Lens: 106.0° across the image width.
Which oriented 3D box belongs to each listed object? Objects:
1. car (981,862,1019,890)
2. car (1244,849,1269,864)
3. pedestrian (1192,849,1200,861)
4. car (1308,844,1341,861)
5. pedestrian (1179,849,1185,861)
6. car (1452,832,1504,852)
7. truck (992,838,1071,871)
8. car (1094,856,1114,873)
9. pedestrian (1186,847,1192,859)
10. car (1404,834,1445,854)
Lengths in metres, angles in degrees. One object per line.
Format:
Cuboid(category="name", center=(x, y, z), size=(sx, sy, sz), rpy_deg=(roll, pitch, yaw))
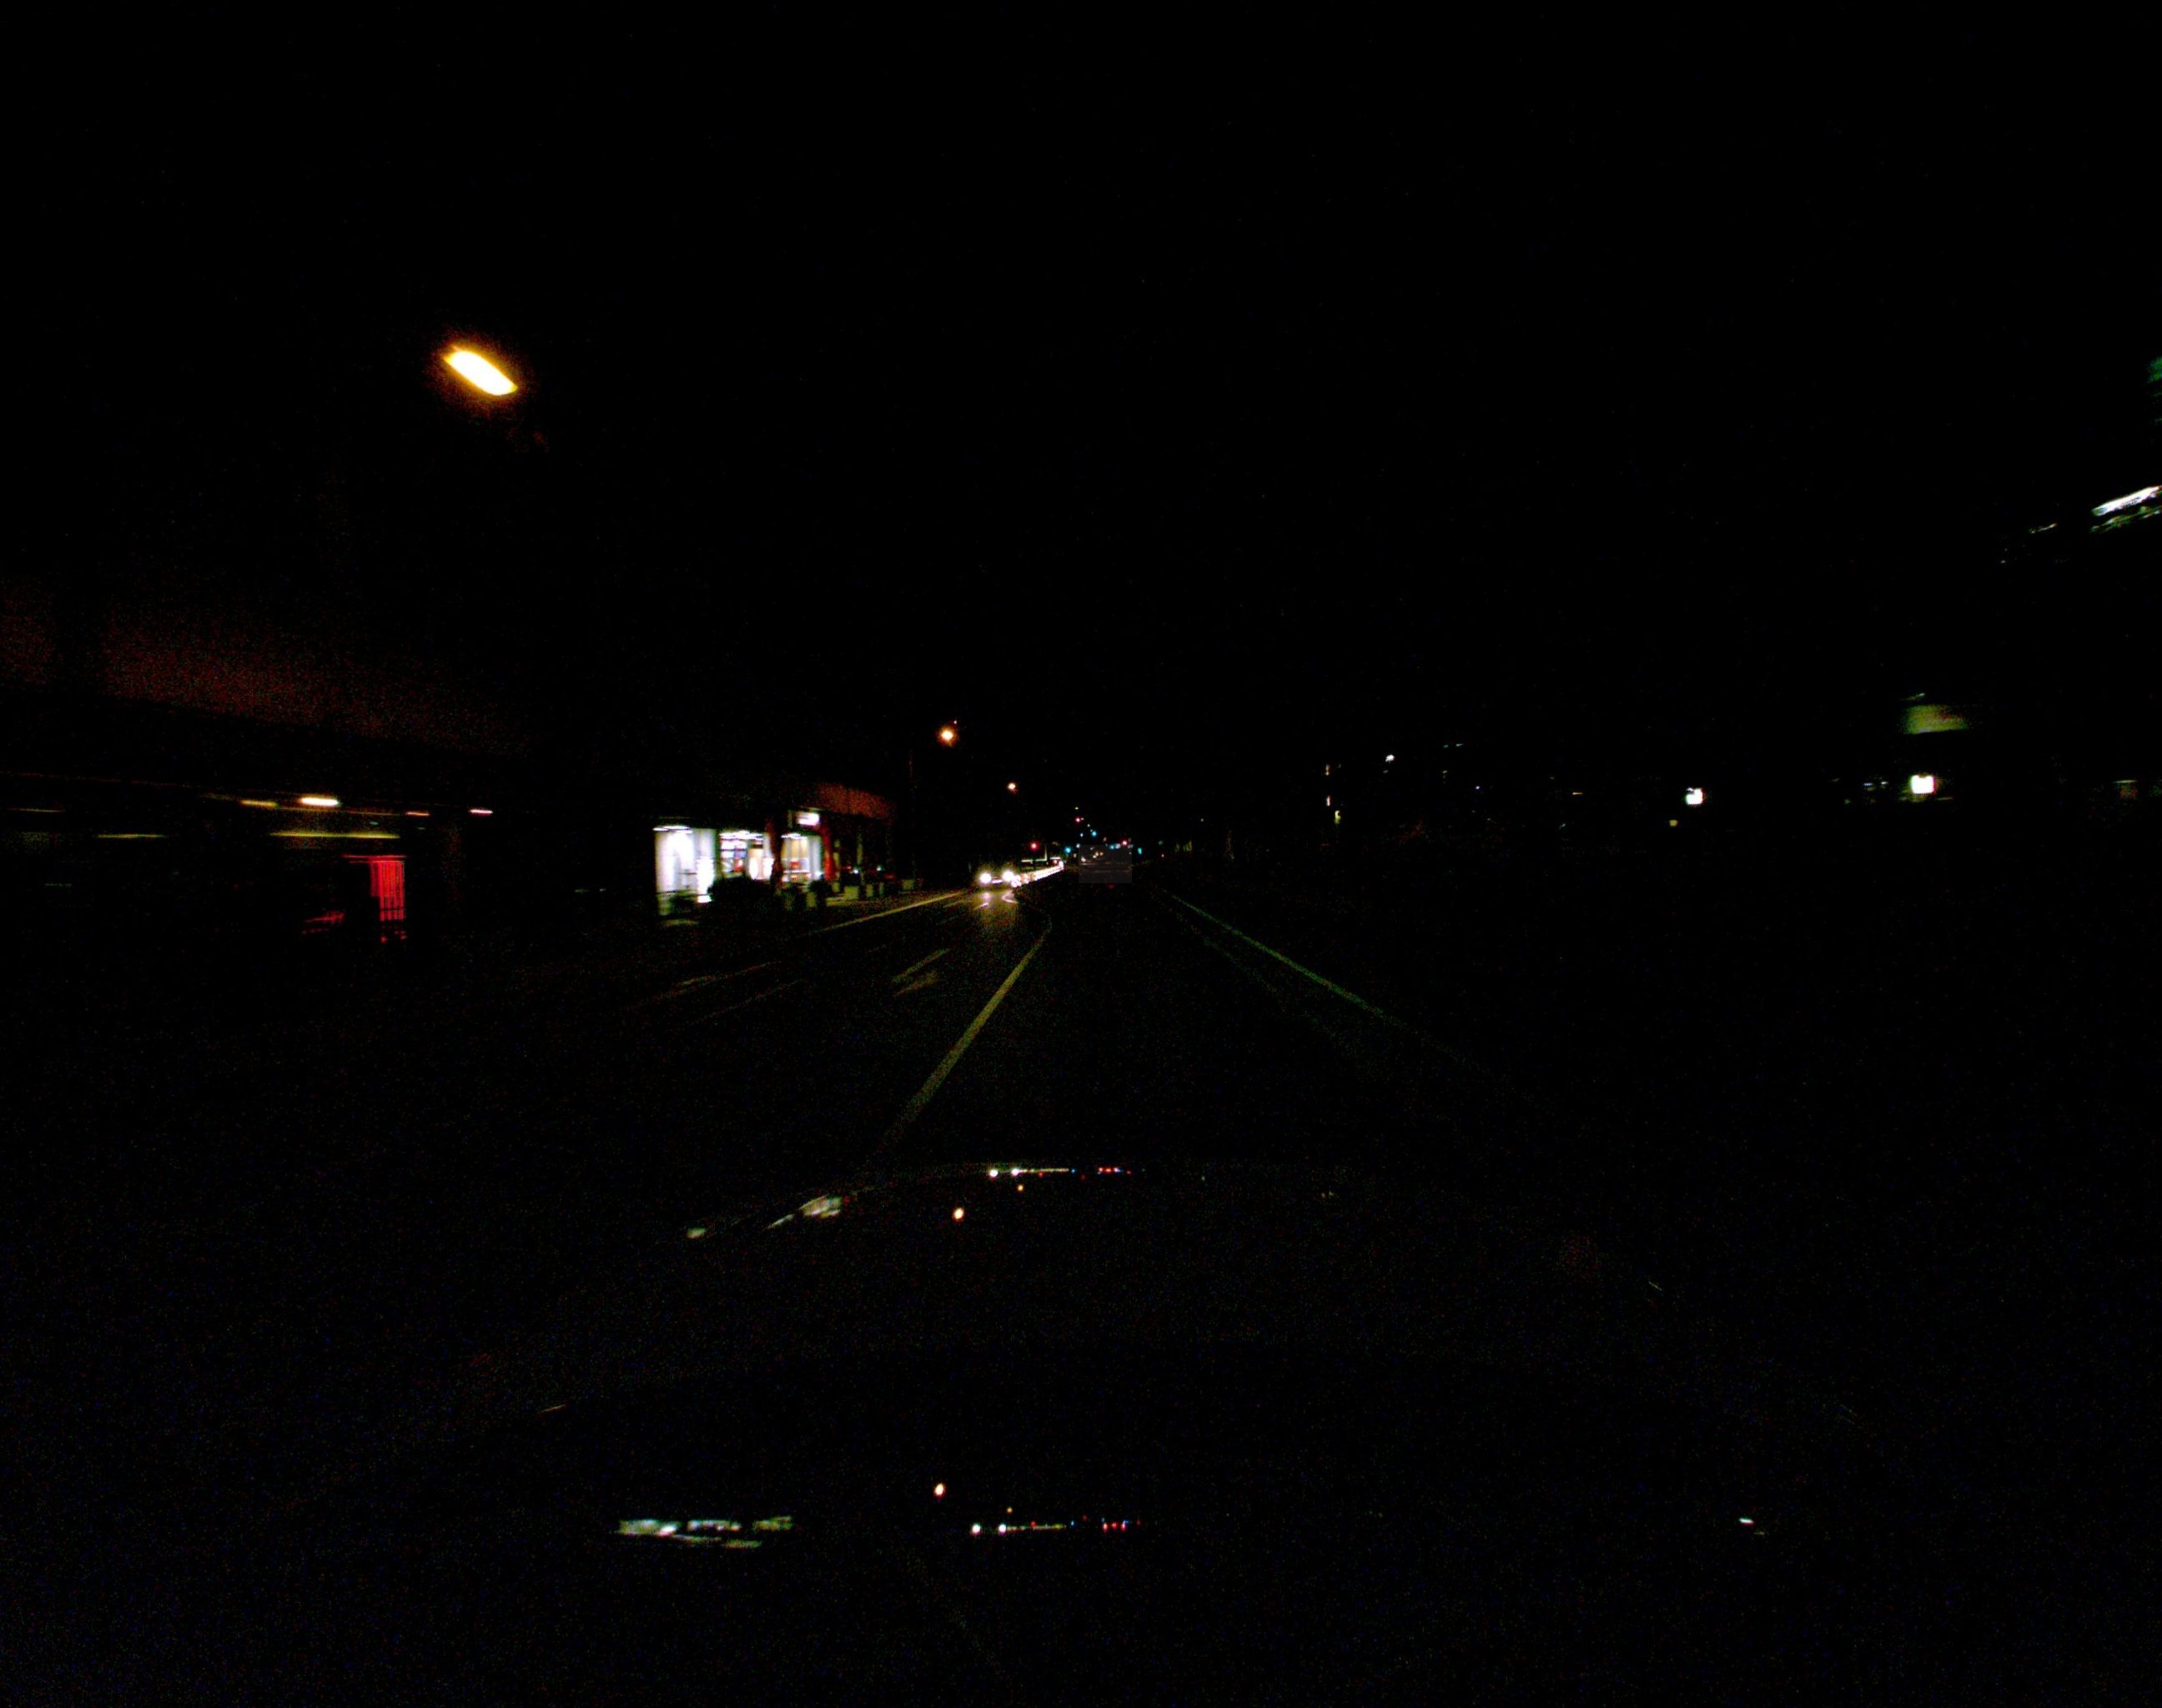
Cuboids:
Cuboid(category="car", center=(-4.657, 1.227, 47.298), size=(1.661, 1.428, 4.000), rpy_deg=(-4, 0, 0))
Cuboid(category="car", center=(17.377, 0.258, 80.636), size=(1.507, 1.395, 4.482), rpy_deg=(-3, 0, 1))
Cuboid(category="pedestrian", center=(16.845, 0.144, 119.636), size=(0.899, 1.769, 0.906), rpy_deg=(-3, 0, -3))
Cuboid(category="car", center=(24.196, -0.135, 81.072), size=(1.778, 1.533, 3.995), rpy_deg=(-3, 0, -3))
Cuboid(category="pedestrian", center=(14.813, 0.170, 119.552), size=(0.711, 1.769, 0.907), rpy_deg=(-3, 0, 1))
Cuboid(category="car", center=(33.319, -0.954, 68.522), size=(1.883, 1.512, 4.891), rpy_deg=(-3, 0, 0))
Cuboid(category="truck", center=(-6.722, 0.112, 110.890), size=(10.017, 3.718, 2.772), rpy_deg=(-4, 0, 10))
Cuboid(category="car", center=(2.169, 0.958, 75.950), size=(1.798, 1.494, 4.732), rpy_deg=(-1, 0, 2))
Cuboid(category="pedestrian", center=(15.797, -0.165, 119.439), size=(0.736, 1.769, 0.907), rpy_deg=(-3, 0, 1))
Cuboid(category="car", center=(28.460, -0.824, 67.595), size=(1.762, 1.533, 4.100), rpy_deg=(-3, 0, 1))
